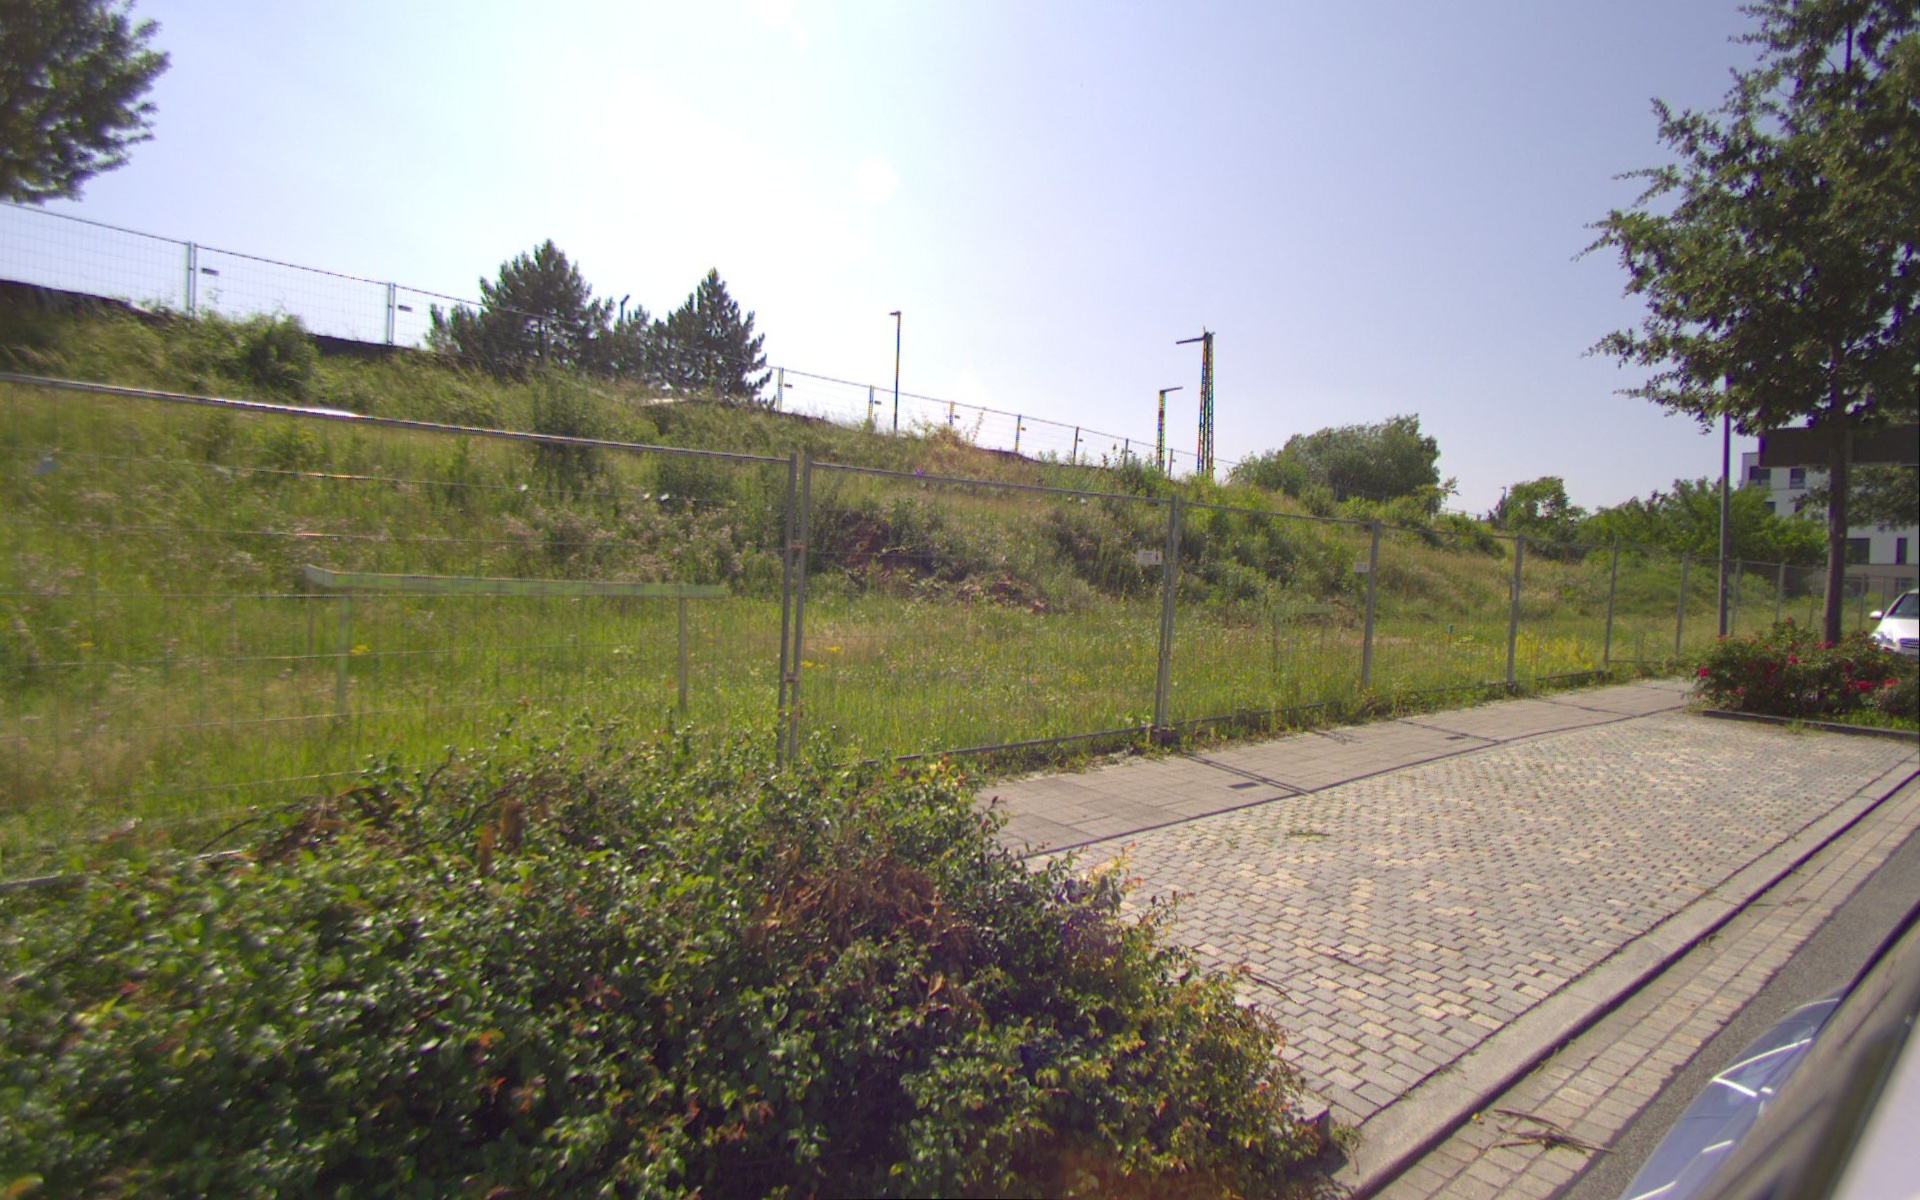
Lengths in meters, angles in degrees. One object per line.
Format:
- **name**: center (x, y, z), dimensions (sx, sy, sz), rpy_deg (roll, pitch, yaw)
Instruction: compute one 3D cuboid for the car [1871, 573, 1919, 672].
- **car**: center (17.998, 0.435, 18.138), dimensions (4.293, 1.635, 1.847), rpy_deg (1, 4, -41)
